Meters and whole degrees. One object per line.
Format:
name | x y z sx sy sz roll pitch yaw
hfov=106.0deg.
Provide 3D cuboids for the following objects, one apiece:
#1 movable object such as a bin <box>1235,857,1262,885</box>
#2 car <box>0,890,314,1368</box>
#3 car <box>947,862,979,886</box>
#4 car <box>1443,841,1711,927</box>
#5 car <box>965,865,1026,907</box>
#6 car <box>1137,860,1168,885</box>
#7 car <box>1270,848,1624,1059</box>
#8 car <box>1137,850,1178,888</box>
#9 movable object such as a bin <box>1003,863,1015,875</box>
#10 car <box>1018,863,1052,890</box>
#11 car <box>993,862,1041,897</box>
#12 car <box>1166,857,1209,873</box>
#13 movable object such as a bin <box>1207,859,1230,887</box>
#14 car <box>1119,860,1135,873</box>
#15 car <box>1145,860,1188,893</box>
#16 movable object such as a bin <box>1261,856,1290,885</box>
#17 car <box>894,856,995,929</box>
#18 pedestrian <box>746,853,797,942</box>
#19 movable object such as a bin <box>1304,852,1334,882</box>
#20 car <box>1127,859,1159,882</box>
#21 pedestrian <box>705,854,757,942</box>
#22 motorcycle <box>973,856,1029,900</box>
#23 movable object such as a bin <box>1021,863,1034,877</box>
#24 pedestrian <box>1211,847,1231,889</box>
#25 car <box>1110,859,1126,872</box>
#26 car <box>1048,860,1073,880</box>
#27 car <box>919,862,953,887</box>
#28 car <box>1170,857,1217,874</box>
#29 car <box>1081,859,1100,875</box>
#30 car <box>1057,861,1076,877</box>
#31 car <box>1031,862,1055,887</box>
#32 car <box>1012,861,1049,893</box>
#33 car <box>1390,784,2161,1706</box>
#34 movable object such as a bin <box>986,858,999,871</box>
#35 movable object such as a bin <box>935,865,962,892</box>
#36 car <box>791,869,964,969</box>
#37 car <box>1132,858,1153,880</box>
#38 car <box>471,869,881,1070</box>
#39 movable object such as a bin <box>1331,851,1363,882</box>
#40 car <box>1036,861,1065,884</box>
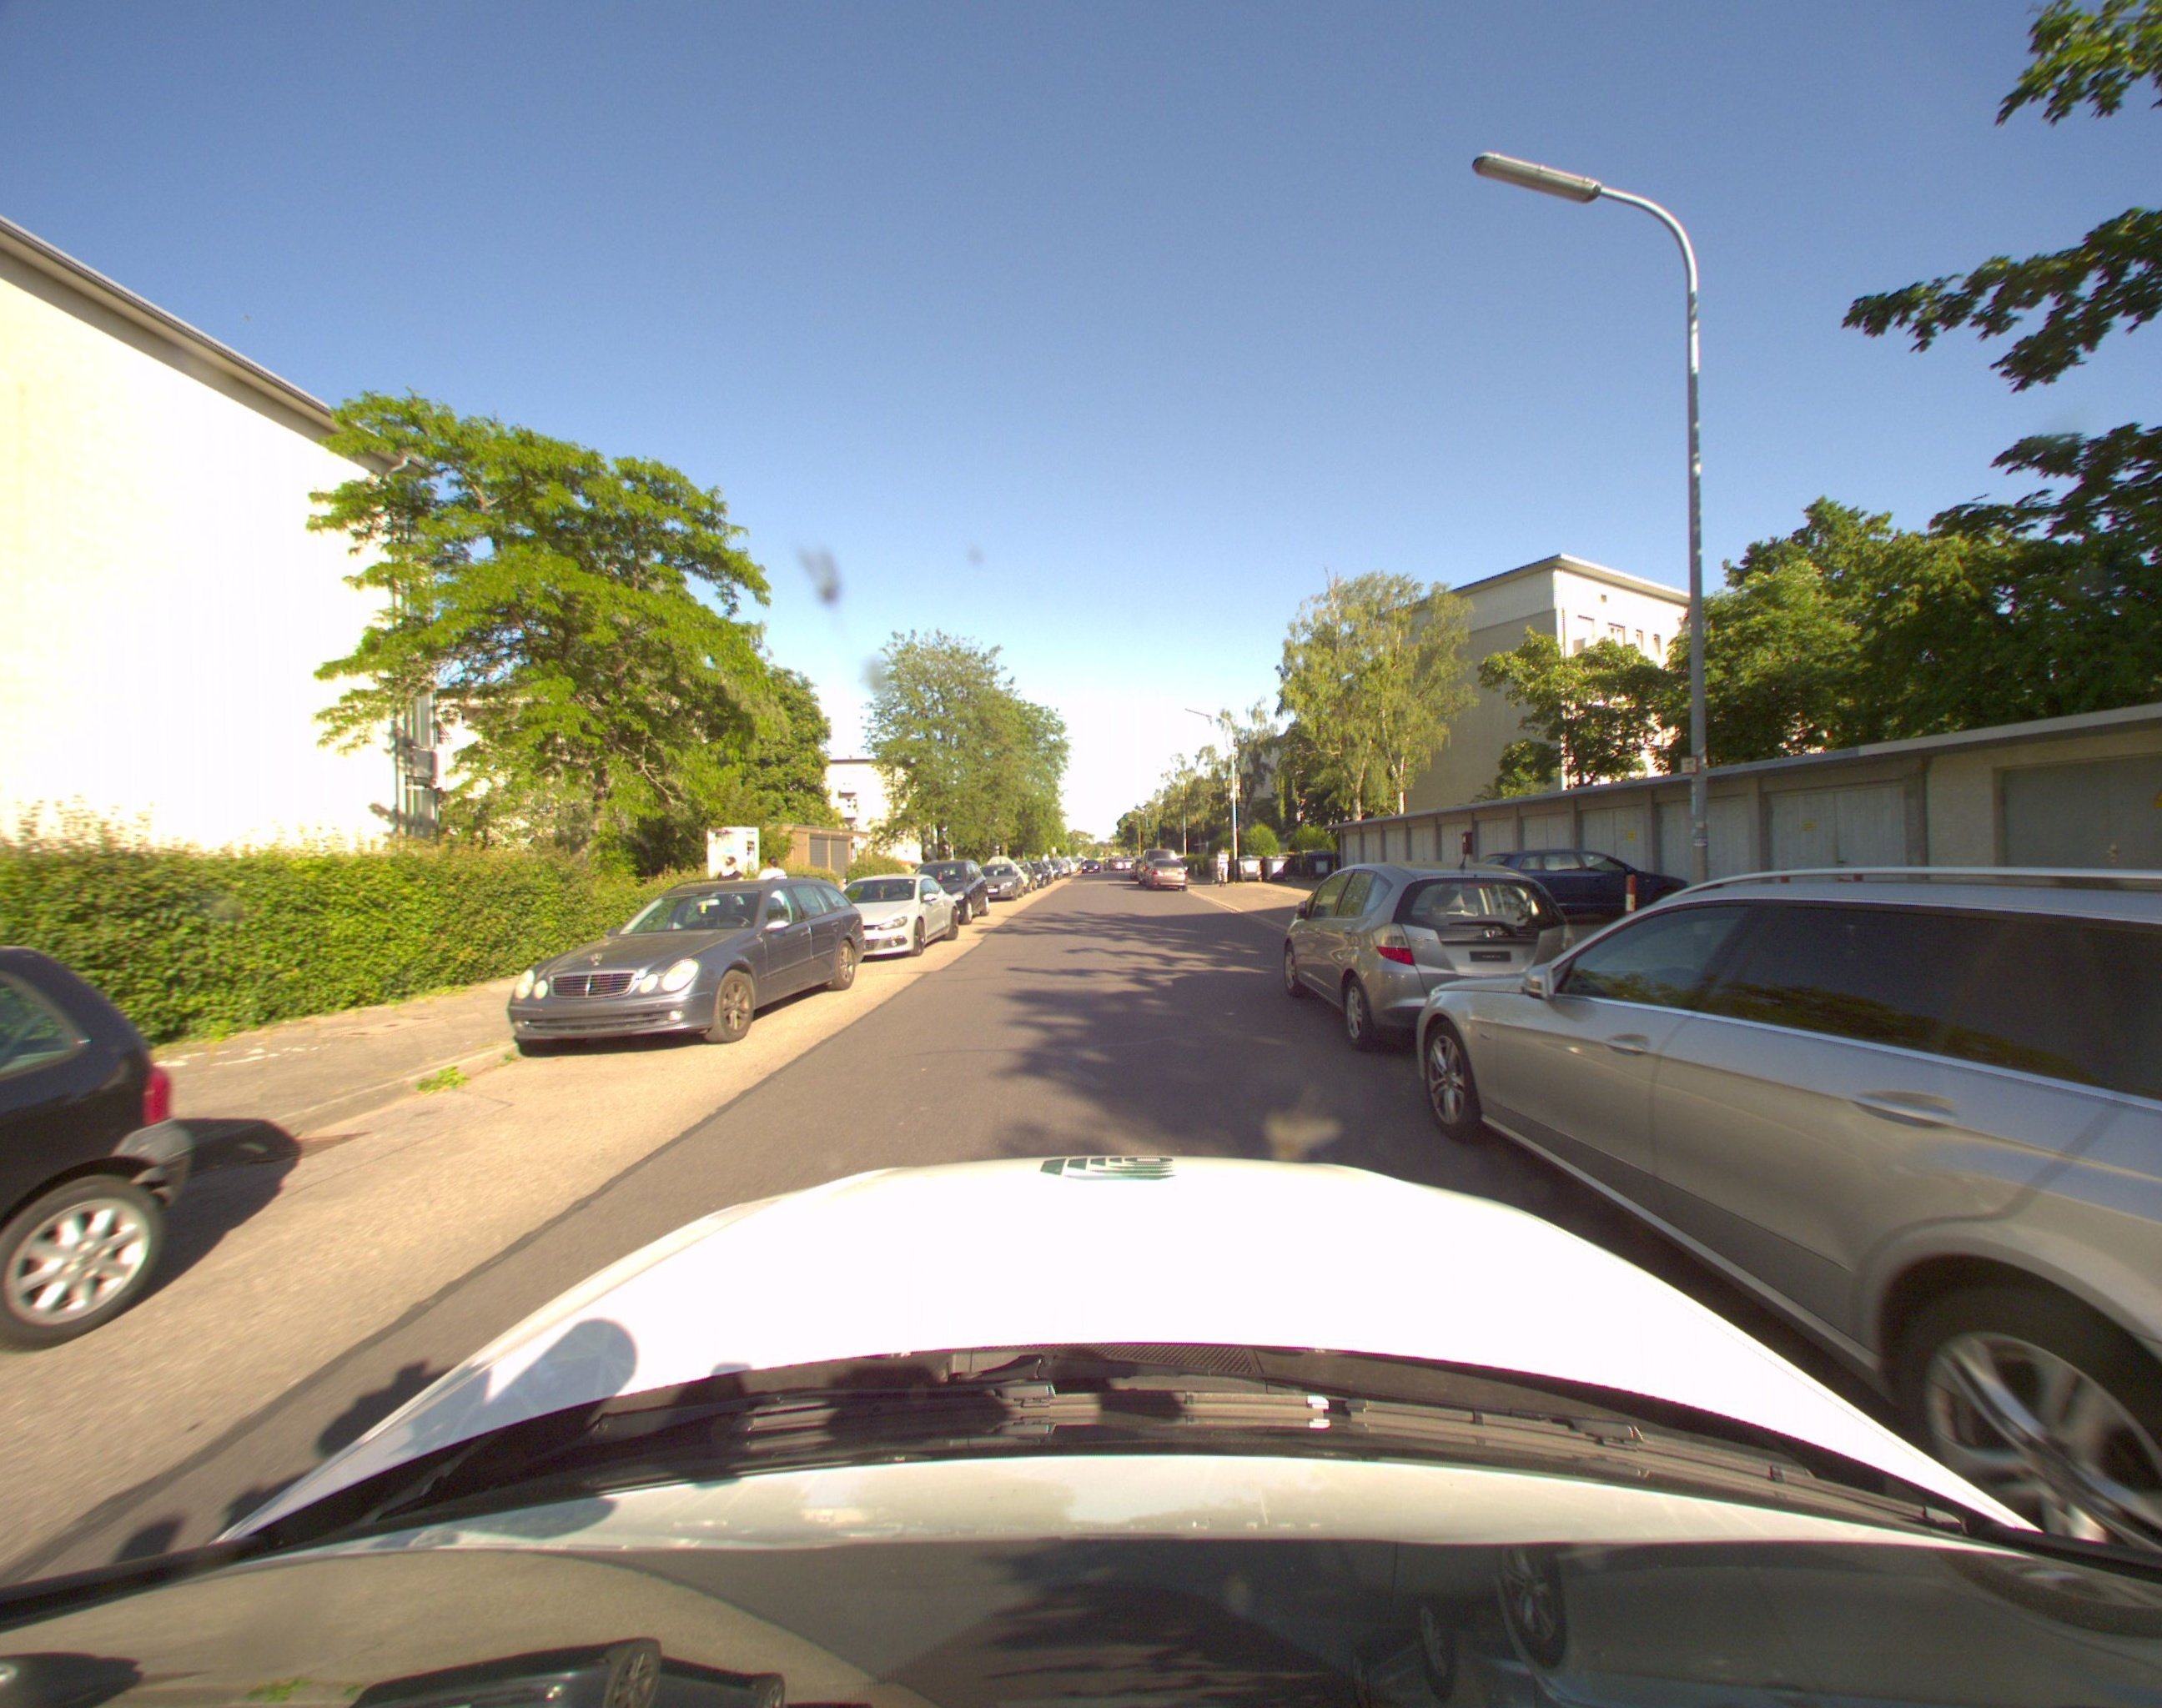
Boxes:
movable object such as a bin | 8.468 0.861 41.244 1.218 1.365 1.134 -2 -1 5
car | -4.262 0.920 1.852 1.643 1.464 3.496 -3 0 1
car | -7.938 1.323 54.924 1.565 1.525 3.999 0 -1 0
car | 9.566 0.558 15.926 4.171 1.495 1.817 -1 -1 -2
car | -3.273 1.187 31.961 1.748 1.421 4.270 -4 -1 1
car | 4.394 1.098 50.647 1.617 1.490 4.036 0 -1 1
car | 3.064 0.731 7.756 1.797 1.494 3.797 -1 0 3
car | 4.059 0.807 43.918 1.846 1.934 4.705 0 -1 1
movable object such as a bin | -8.179 1.710 92.981 1.130 1.421 1.362 1 0 3
car | -2.788 1.326 50.120 1.748 1.481 4.537 -4 -1 0
car | -3.059 1.204 39.883 1.747 1.481 3.962 -4 -1 3
car | 11.622 1.225 89.054 4.398 1.513 1.829 -2 -1 1
movable object such as a bin | 7.140 0.967 42.210 1.019 1.310 1.391 -5 -1 11
car | 5.776 1.547 102.036 1.748 1.514 4.102 0 -1 -1
car | 3.965 1.024 38.284 1.793 1.419 4.639 -1 -1 3
movable object such as a bin | 9.741 0.820 40.831 1.270 1.365 1.134 -2 -1 5
car | -3.503 0.940 21.680 1.748 1.635 4.371 -4 -1 1
pedestrian | -5.949 0.824 15.682 0.718 1.679 0.616 -1 -1 1
movable object such as a bin | 12.120 0.654 41.513 1.270 1.465 1.135 -2 3 5
car | 4.267 1.122 56.541 1.727 1.490 4.499 -2 -1 -1
pedestrian | -6.850 0.852 15.956 0.718 1.679 0.600 -1 -1 1
motorcycle | -3.466 1.030 35.471 2.250 1.727 0.932 -4 -1 -2
movable object such as a bin | -5.357 1.631 81.497 1.131 1.383 1.443 1 0 3
pedestrian | 6.555 0.653 38.150 0.700 1.888 0.873 -4 -1 2
car | 4.417 1.361 96.946 1.675 1.514 4.102 0 -1 -1
car | -1.802 1.431 73.034 1.896 1.640 4.350 -3 -1 1
car | -9.859 1.345 55.613 1.565 1.641 3.999 0 -1 0
car | 11.134 1.113 80.853 4.495 1.513 1.830 -2 -1 2
car | 1.025 1.343 84.914 1.904 1.476 4.571 -2 0 1
car | -1.484 1.538 83.104 1.660 1.513 3.532 -2 -1 -5
car | -2.634 1.414 56.673 1.440 1.574 3.142 -4 -1 0
car | -2.782 1.234 45.344 1.749 1.574 3.719 -4 -1 0
car | 2.783 0.651 2.835 1.823 1.546 4.644 -1 0 3
movable object such as a bin | -9.680 1.189 89.428 1.172 1.421 1.463 1 0 3
movable object such as a bin | -7.115 1.332 43.869 1.173 1.408 1.344 -1 -1 2
car | -3.434 1.045 14.629 1.747 1.425 4.214 -4 -1 3
car | 4.830 1.155 63.780 1.483 1.718 2.583 0 -1 1
car | -3.865 0.972 8.990 1.747 1.490 4.904 -4 -1 3
movable object such as a bin | 13.498 0.621 41.376 1.270 1.465 1.135 -2 3 5
car | -2.295 1.389 62.115 1.747 1.606 3.970 -4 -1 2
